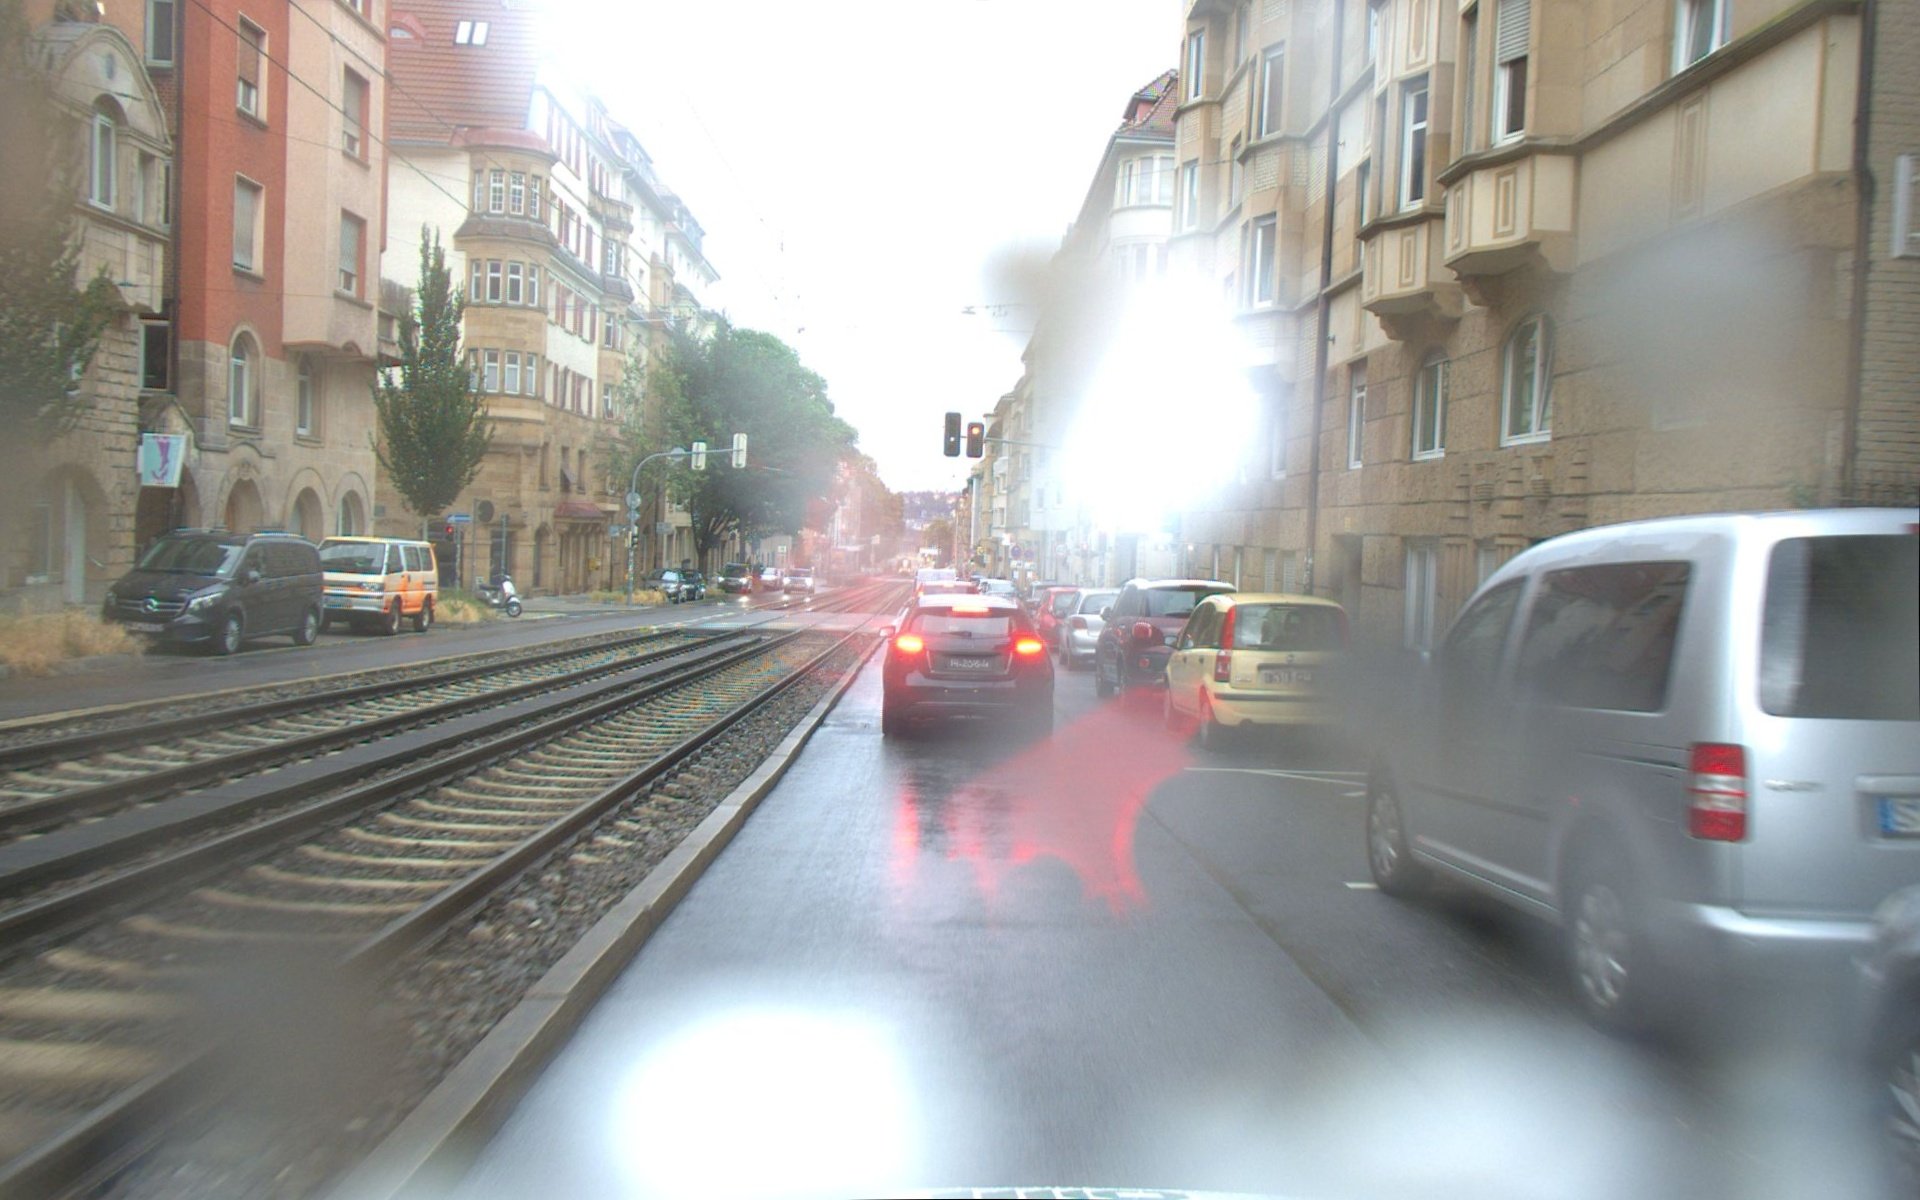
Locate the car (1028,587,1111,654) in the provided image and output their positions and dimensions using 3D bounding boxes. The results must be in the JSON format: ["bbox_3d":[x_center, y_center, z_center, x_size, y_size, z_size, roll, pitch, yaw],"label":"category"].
[{"bbox_3d":[2.535,0.459,38.828,1.570,1.444,3.147,2,0,-2],"label":"car"}]

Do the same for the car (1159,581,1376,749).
[{"bbox_3d":[3.114,0.609,17.339,1.527,1.504,3.460,3,0,-1],"label":"car"}]

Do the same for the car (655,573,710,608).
[{"bbox_3d":[-13.249,-0.468,79.154,1.953,1.544,3.999,2,0,-1],"label":"car"}]

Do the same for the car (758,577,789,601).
[{"bbox_3d":[-14.118,-0.822,125.403,1.893,1.758,4.185,3,0,-1],"label":"car"}]

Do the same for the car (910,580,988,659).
[{"bbox_3d":[-0.239,0.381,35.510,1.504,1.536,3.999,3,0,-1],"label":"car"}]

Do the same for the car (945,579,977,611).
[{"bbox_3d":[0.025,-0.270,99.056,1.815,1.829,3.811,2,-1,-1],"label":"car"}]

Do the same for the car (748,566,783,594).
[{"bbox_3d":[-13.799,-1.414,117.347,1.953,1.825,3.999,3,0,-1],"label":"car"}]

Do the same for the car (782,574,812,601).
[{"bbox_3d":[-10.321,-0.771,104.984,1.760,1.575,3.996,3,0,-5],"label":"car"}]

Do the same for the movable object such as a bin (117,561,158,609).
[{"bbox_3d":[-17.308,-0.322,34.819,0.562,0.972,0.519,3,0,-1],"label":"movable object such as a bin"}]

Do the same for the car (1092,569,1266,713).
[{"bbox_3d":[2.819,0.492,22.089,1.676,1.657,3.999,3,0,-1],"label":"car"}]

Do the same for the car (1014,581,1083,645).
[{"bbox_3d":[2.327,0.327,44.197,1.518,1.534,3.999,3,0,-1],"label":"car"}]

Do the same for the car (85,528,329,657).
[{"bbox_3d":[-12.281,-0.113,27.369,1.953,1.935,4.697,1,0,-1],"label":"car"}]

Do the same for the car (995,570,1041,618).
[{"bbox_3d":[2.608,-0.230,75.644,1.860,2.063,4.175,1,-1,-1],"label":"car"}]

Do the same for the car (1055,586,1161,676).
[{"bbox_3d":[2.771,0.543,31.490,1.604,1.569,3.465,2,0,-1],"label":"car"}]

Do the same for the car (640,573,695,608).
[{"bbox_3d":[-13.017,-0.401,73.835,1.735,1.489,3.999,2,0,-1],"label":"car"}]

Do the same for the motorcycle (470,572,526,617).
[{"bbox_3d":[-12.729,-0.146,45.579,1.409,1.154,0.619,3,0,29],"label":"motorcycle"}]

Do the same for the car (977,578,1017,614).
[{"bbox_3d":[1.937,-0.201,87.642,1.733,1.807,3.996,2,-1,-5],"label":"car"}]

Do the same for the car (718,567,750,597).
[{"bbox_3d":[-13.658,-1.085,99.973,1.755,1.721,3.994,2,0,-7],"label":"car"}]

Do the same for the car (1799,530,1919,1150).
[{"bbox_3d":[3.305,0.585,2.481,1.953,1.466,3.998,2,0,-2],"label":"car"}]

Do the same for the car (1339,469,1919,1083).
[{"bbox_3d":[3.090,0.526,7.105,1.739,1.807,4.358,1,0,-2],"label":"car"}]

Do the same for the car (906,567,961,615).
[{"bbox_3d":[-1.044,-0.349,62.642,1.883,1.684,3.998,2,1,-3],"label":"car"}]

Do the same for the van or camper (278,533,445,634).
[{"bbox_3d":[-12.530,-0.326,34.981,1.954,1.934,4.696,-2,0,-3],"label":"van or camper"}]

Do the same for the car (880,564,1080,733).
[{"bbox_3d":[0.136,0.491,17.881,1.907,1.592,3.641,2,-1,-2],"label":"car"}]
